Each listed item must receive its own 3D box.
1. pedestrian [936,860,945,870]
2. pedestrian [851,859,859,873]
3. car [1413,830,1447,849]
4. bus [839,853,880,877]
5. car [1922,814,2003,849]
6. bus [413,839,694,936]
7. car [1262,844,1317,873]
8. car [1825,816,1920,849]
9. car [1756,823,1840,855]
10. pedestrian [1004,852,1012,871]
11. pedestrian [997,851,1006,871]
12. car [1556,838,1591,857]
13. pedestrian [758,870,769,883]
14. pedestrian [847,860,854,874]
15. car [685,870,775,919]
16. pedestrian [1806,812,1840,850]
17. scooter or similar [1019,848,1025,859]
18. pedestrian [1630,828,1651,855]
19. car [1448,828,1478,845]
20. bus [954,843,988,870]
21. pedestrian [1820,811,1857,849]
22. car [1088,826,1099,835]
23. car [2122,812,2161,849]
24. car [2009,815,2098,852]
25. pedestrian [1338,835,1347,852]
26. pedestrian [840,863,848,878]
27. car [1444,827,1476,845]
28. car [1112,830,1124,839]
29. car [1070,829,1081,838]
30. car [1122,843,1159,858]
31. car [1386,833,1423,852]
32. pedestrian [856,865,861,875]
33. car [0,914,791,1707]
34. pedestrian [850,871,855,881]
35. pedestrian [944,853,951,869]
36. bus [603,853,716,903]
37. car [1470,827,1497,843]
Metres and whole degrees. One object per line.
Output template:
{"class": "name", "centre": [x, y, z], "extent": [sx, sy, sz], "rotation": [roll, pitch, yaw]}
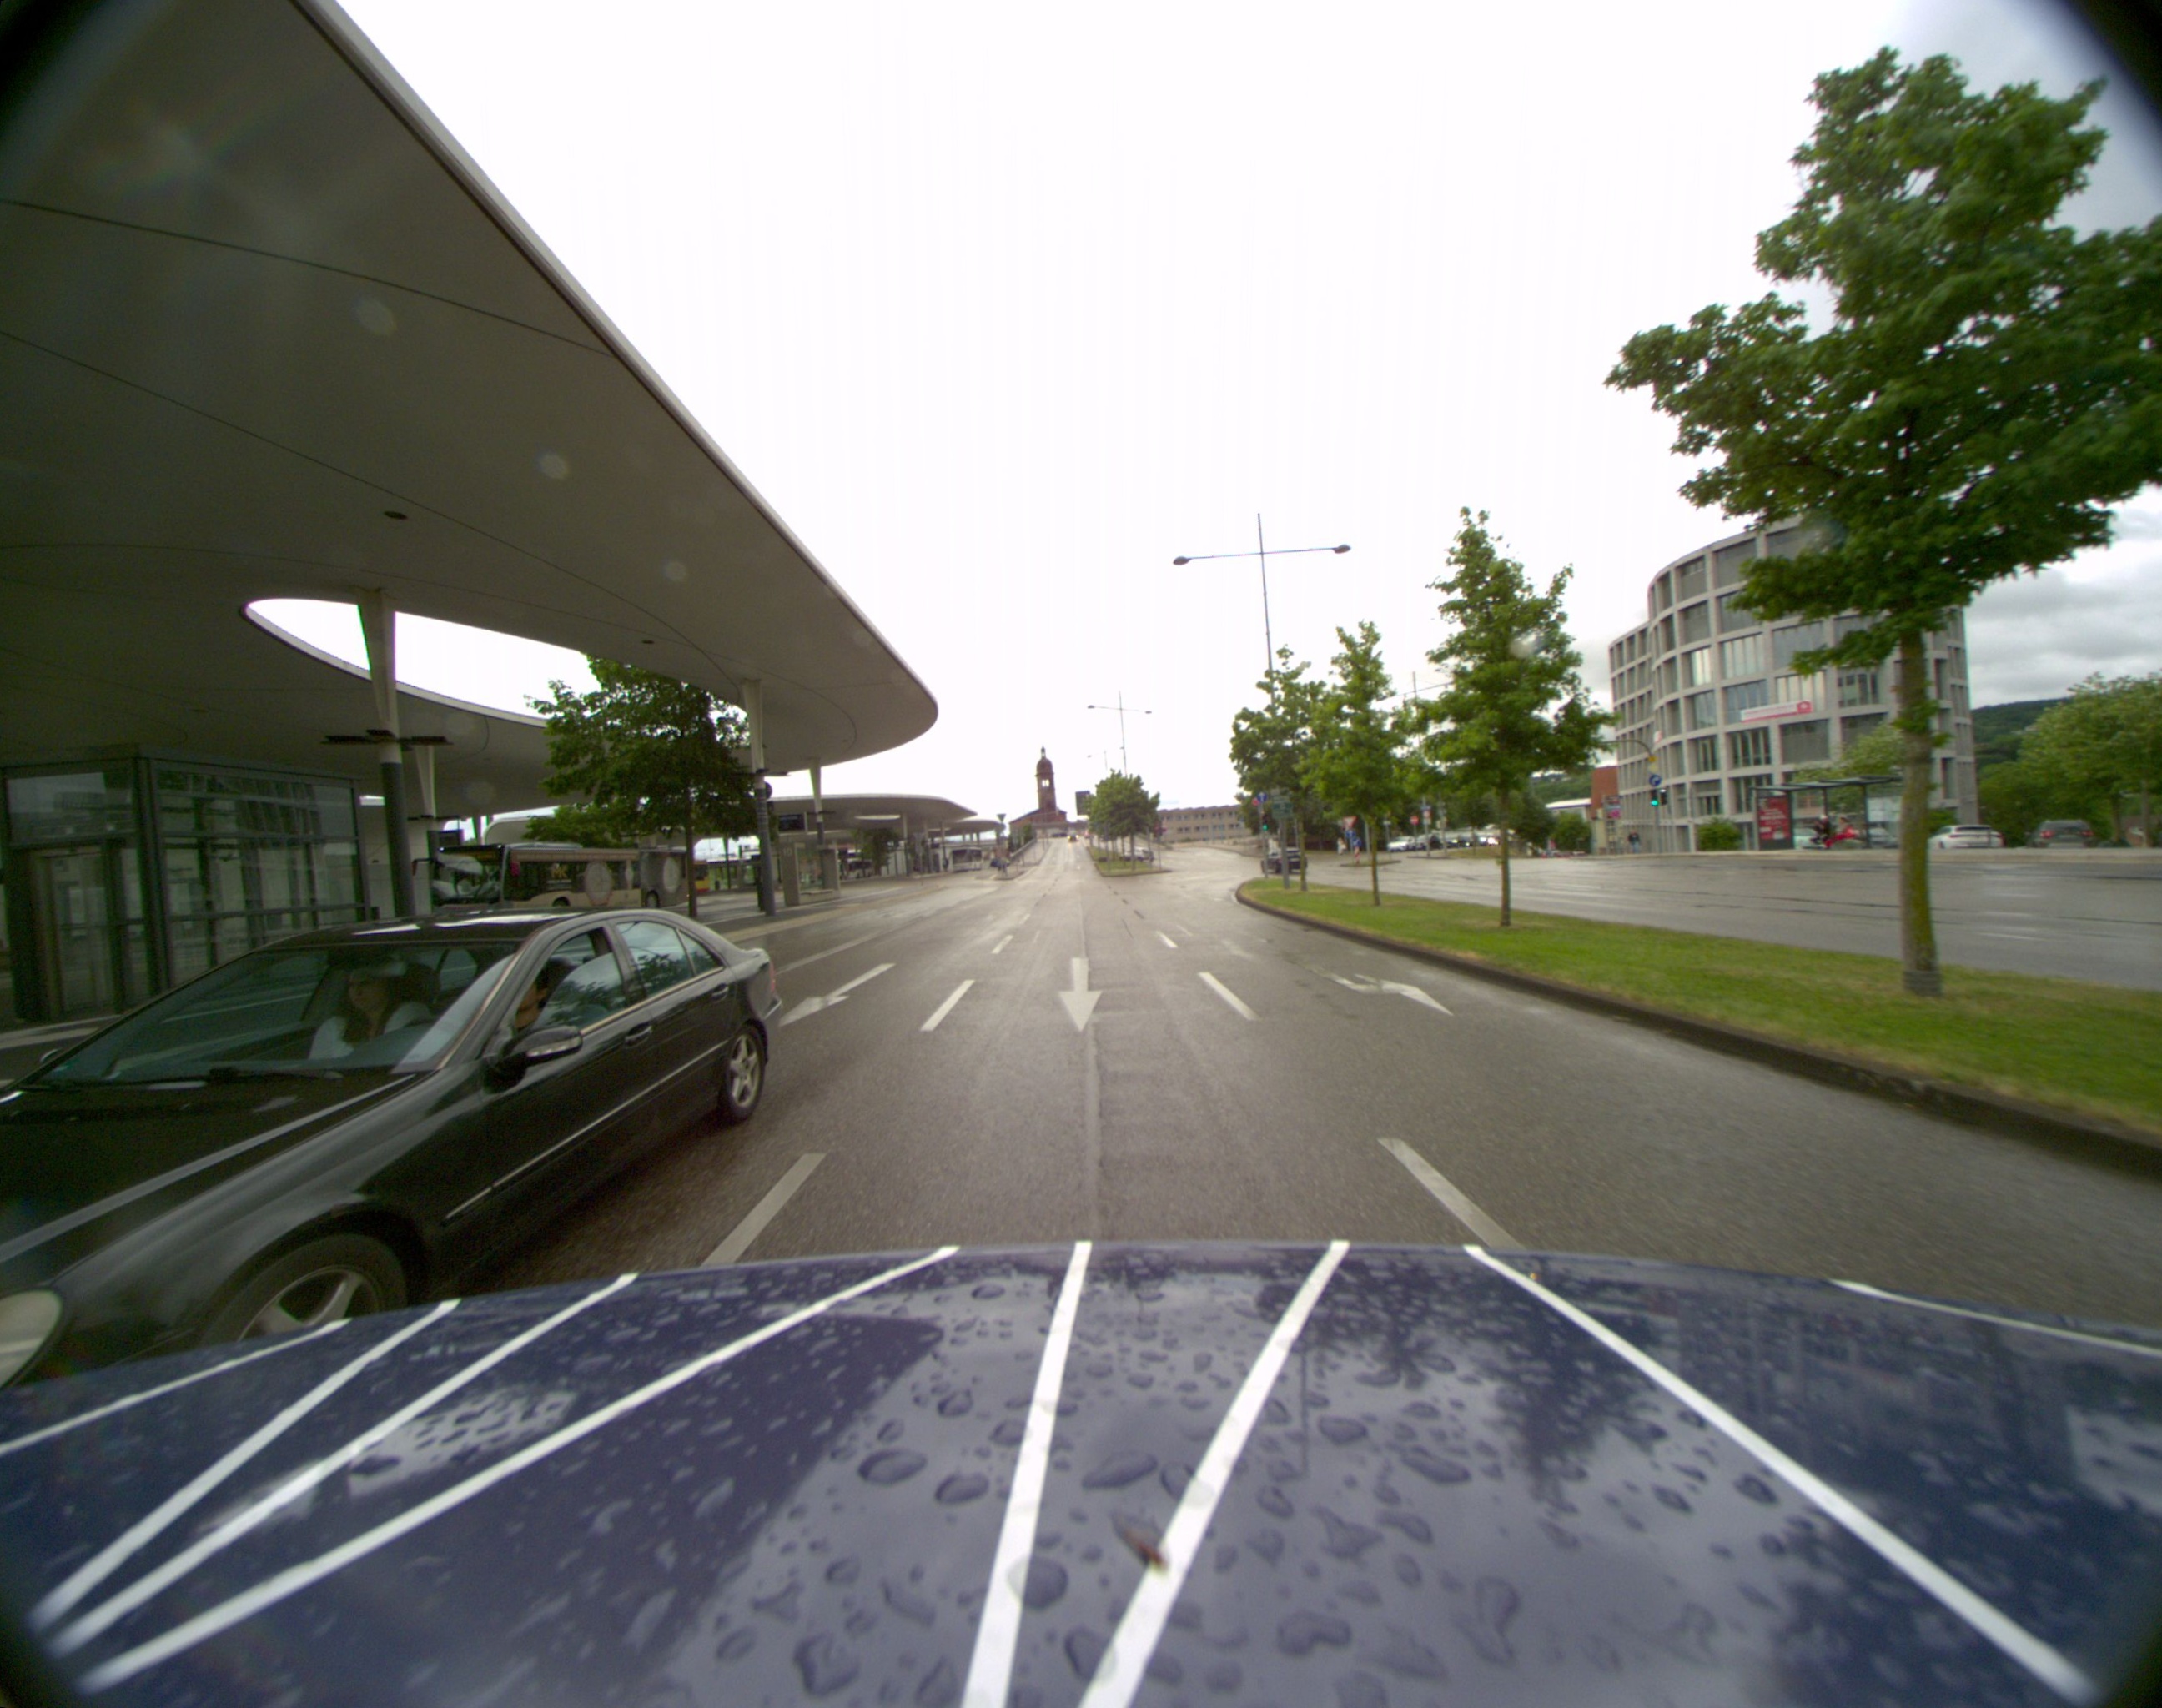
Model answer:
{"class": "pedestrian", "centre": [-17.232, 1.352, 93.117], "extent": [0.954, 1.247, 0.648], "rotation": [-1, -1, -24]}
{"class": "pedestrian", "centre": [-27.625, 1.491, 92.717], "extent": [0.644, 1.645, 0.638], "rotation": [-4, 1, -40]}
{"class": "car", "centre": [32.558, -1.381, 70.865], "extent": [1.723, 1.559, 3.845], "rotation": [-2, 1, 43]}
{"class": "bus", "centre": [-35.003, 1.639, 120.466], "extent": [2.795, 3.239, 12.138], "rotation": [-4, 1, 0]}
{"class": "car", "centre": [40.945, -1.069, 35.368], "extent": [1.761, 1.487, 3.795], "rotation": [-2, 1, 39]}
{"class": "bus", "centre": [-20.017, 1.038, 30.467], "extent": [2.728, 3.026, 12.087], "rotation": [-3, 0, 0]}
{"class": "car", "centre": [12.097, 0.237, 44.385], "extent": [1.685, 1.519, 4.638], "rotation": [-3, 1, -2]}
{"class": "car", "centre": [39.339, -1.048, 37.878], "extent": [1.630, 1.487, 3.585], "rotation": [-3, 1, 15]}
{"class": "car", "centre": [37.290, -0.785, 39.631], "extent": [1.630, 1.487, 3.585], "rotation": [-3, 1, 15]}
{"class": "pedestrian", "centre": [-6.670, 0.654, 69.761], "extent": [0.524, 1.661, 0.580], "rotation": [-5, 4, 0]}
{"class": "pedestrian", "centre": [-7.293, 0.633, 69.729], "extent": [0.590, 1.662, 0.580], "rotation": [-6, 5, -1]}
{"class": "car", "centre": [45.518, -0.655, 70.232], "extent": [4.040, 1.543, 1.823], "rotation": [-4, 1, -44]}
{"class": "pedestrian", "centre": [-37.069, 2.636, 88.613], "extent": [0.711, 1.318, 0.801], "rotation": [-6, 4, 7]}
{"class": "pedestrian", "centre": [-27.821, 1.557, 91.644], "extent": [0.570, 1.645, 0.557], "rotation": [-3, 1, 6]}
{"class": "car", "centre": [-12.221, 1.362, 26.658], "extent": [1.651, 1.444, 3.237], "rotation": [-4, 0, -2]}
{"class": "pedestrian", "centre": [29.391, -0.911, 30.113], "extent": [0.680, 1.460, 0.626], "rotation": [-3, 1, -2]}
{"class": "scooter or similar", "centre": [-6.824, -0.067, 88.310], "extent": [0.465, 1.214, 1.859], "rotation": [-4, 1, -1]}
{"class": "pedestrian", "centre": [33.586, -0.734, 45.651], "extent": [0.673, 1.574, 0.705], "rotation": [-4, 2, -2]}
{"class": "car", "centre": [39.952, -1.875, 79.407], "extent": [1.723, 1.559, 3.845], "rotation": [-2, 1, 43]}
{"class": "bus", "centre": [-14.767, 0.320, 102.618], "extent": [2.852, 3.342, 12.424], "rotation": [0, 0, 0]}
{"class": "pedestrian", "centre": [29.302, -0.920, 29.388], "extent": [0.680, 1.384, 0.720], "rotation": [-3, 1, -2]}
{"class": "car", "centre": [2.479, -4.853, 156.009], "extent": [1.852, 1.643, 4.417], "rotation": [-4, 1, -3]}
{"class": "car", "centre": [44.685, -0.959, 30.481], "extent": [1.629, 1.487, 3.586], "rotation": [-3, 1, 18]}
{"class": "car", "centre": [43.223, -0.946, 33.845], "extent": [1.628, 1.487, 3.589], "rotation": [-2, 1, 39]}
{"class": "pedestrian", "centre": [24.882, -0.973, 72.177], "extent": [0.653, 1.562, 0.631], "rotation": [-2, 3, 5]}
{"class": "pedestrian", "centre": [-27.376, 1.926, 87.691], "extent": [0.590, 1.581, 0.677], "rotation": [-7, 4, -4]}
{"class": "car", "centre": [37.572, -1.778, 75.260], "extent": [1.723, 1.559, 3.845], "rotation": [-2, 1, 43]}
{"class": "car", "centre": [6.716, -3.484, 138.150], "extent": [1.852, 1.495, 4.919], "rotation": [-3, 1, 1]}
{"class": "car", "centre": [-1.011, -3.890, 145.521], "extent": [1.852, 1.643, 4.417], "rotation": [-4, 1, -3]}
{"class": "car", "centre": [6.058, -0.326, 77.385], "extent": [1.640, 1.440, 3.866], "rotation": [-4, 2, -34]}
{"class": "car", "centre": [31.497, -1.114, 73.928], "extent": [1.882, 1.559, 4.148], "rotation": [-2, 1, 44]}
{"class": "pedestrian", "centre": [-26.749, 1.941, 91.148], "extent": [0.395, 1.138, 0.364], "rotation": [-2, 1, 41]}
{"class": "car", "centre": [-2.858, 1.128, 3.105], "extent": [1.702, 1.453, 4.304], "rotation": [-2, -1, -1]}
{"class": "pedestrian", "centre": [-27.203, 2.624, 90.278], "extent": [0.391, 1.075, 0.352], "rotation": [-2, 1, 41]}
{"class": "pedestrian", "centre": [-16.448, 0.879, 93.741], "extent": [0.585, 1.875, 0.649], "rotation": [-2, -1, 10]}
{"class": "bus", "centre": [-34.754, 1.796, 63.452], "extent": [2.796, 3.239, 12.134], "rotation": [-4, 2, -2]}
{"class": "car", "centre": [46.198, -2.171, 87.161], "extent": [1.723, 1.559, 3.845], "rotation": [-2, 1, 43]}
